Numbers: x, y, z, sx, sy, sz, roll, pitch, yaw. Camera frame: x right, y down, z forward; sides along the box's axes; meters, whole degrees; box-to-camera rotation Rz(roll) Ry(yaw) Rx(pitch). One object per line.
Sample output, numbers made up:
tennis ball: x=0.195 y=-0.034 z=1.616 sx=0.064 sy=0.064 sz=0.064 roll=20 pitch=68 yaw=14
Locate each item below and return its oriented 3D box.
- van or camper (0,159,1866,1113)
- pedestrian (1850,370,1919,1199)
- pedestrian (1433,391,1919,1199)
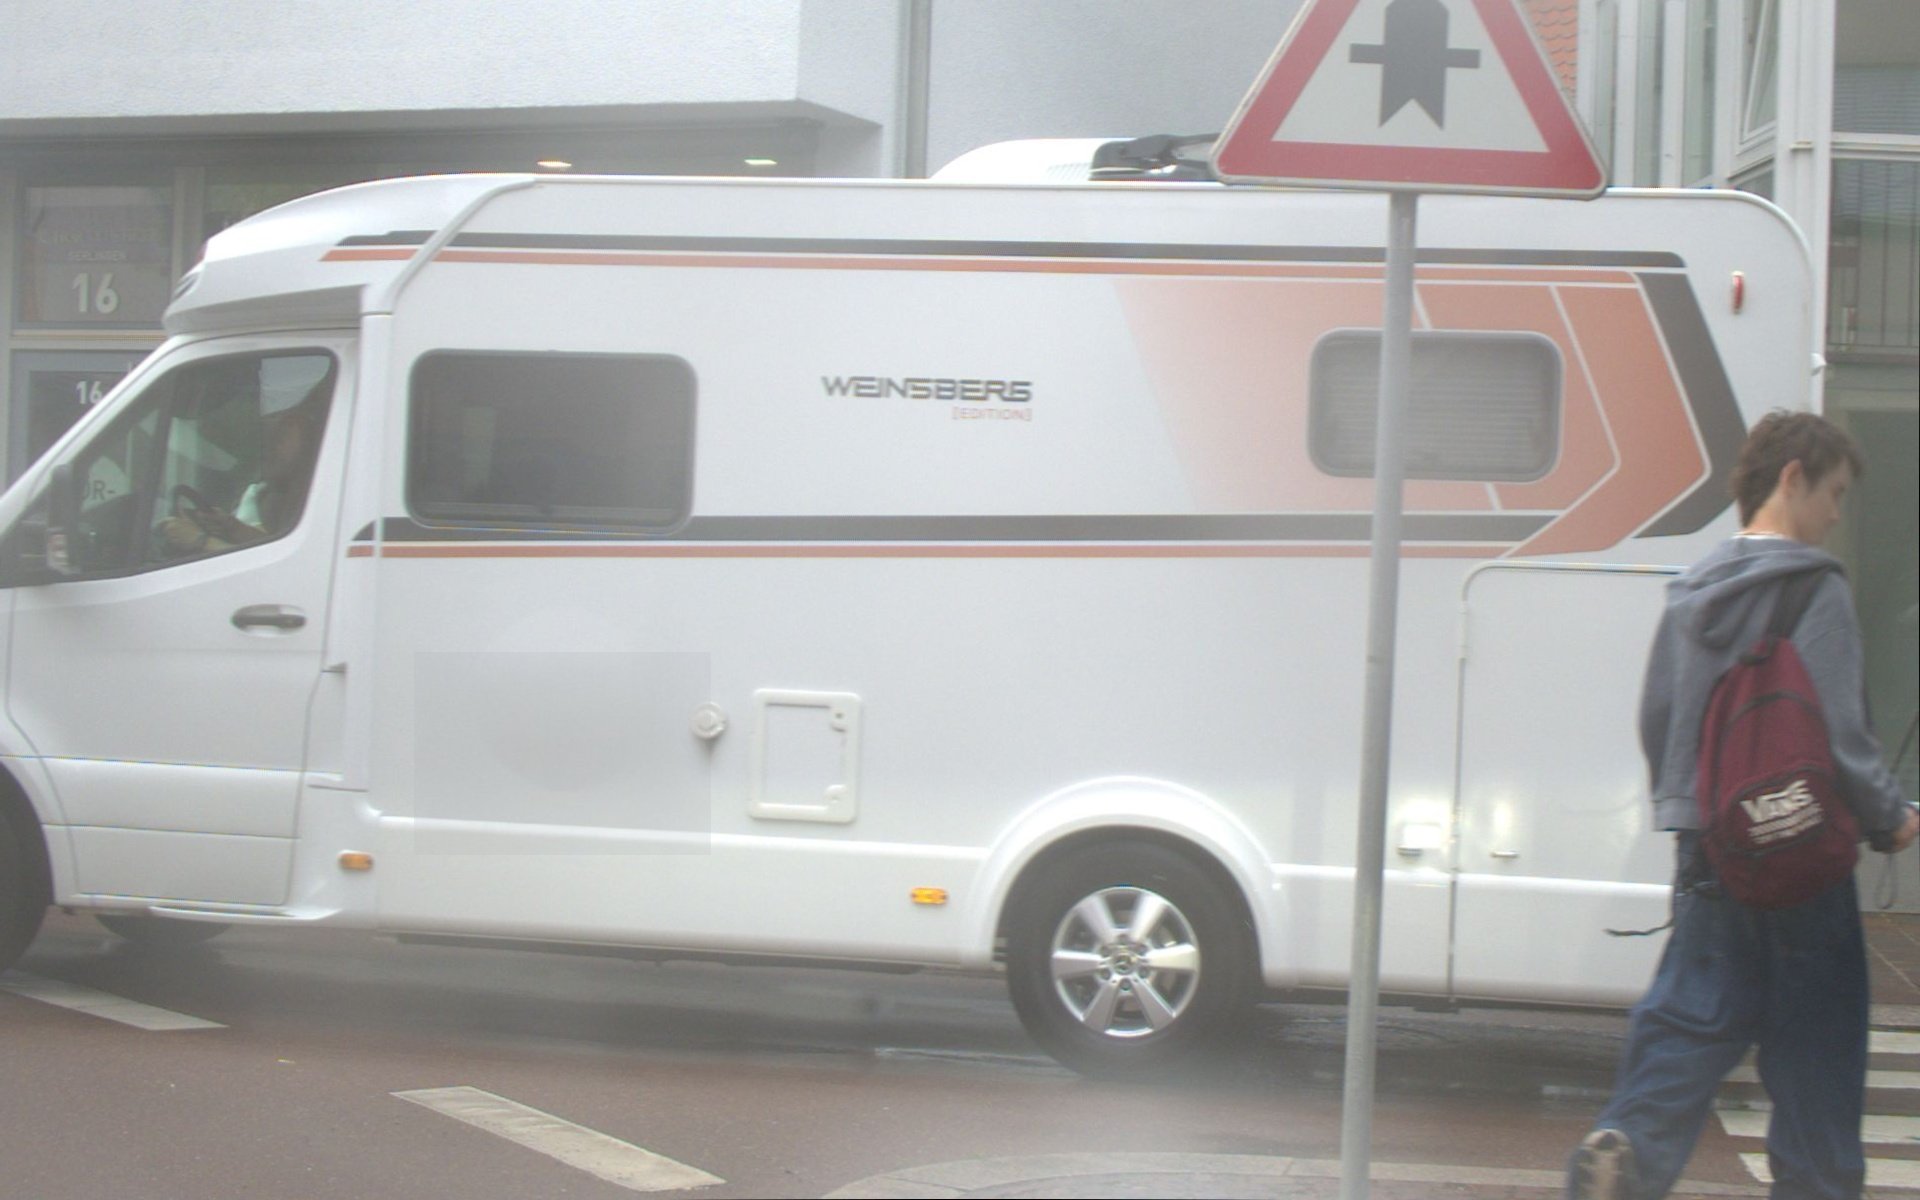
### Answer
van or camper: x=-0.561 y=-0.005 z=11.416 sx=6.733 sy=2.577 sz=2.444 roll=2 pitch=1 yaw=13
pedestrian: x=2.106 y=0.522 z=6.122 sx=0.665 sy=1.800 sz=1.059 roll=2 pitch=0 yaw=34
pedestrian: x=1.538 y=0.513 z=6.909 sx=0.694 sy=1.794 sz=1.056 roll=2 pitch=0 yaw=38
